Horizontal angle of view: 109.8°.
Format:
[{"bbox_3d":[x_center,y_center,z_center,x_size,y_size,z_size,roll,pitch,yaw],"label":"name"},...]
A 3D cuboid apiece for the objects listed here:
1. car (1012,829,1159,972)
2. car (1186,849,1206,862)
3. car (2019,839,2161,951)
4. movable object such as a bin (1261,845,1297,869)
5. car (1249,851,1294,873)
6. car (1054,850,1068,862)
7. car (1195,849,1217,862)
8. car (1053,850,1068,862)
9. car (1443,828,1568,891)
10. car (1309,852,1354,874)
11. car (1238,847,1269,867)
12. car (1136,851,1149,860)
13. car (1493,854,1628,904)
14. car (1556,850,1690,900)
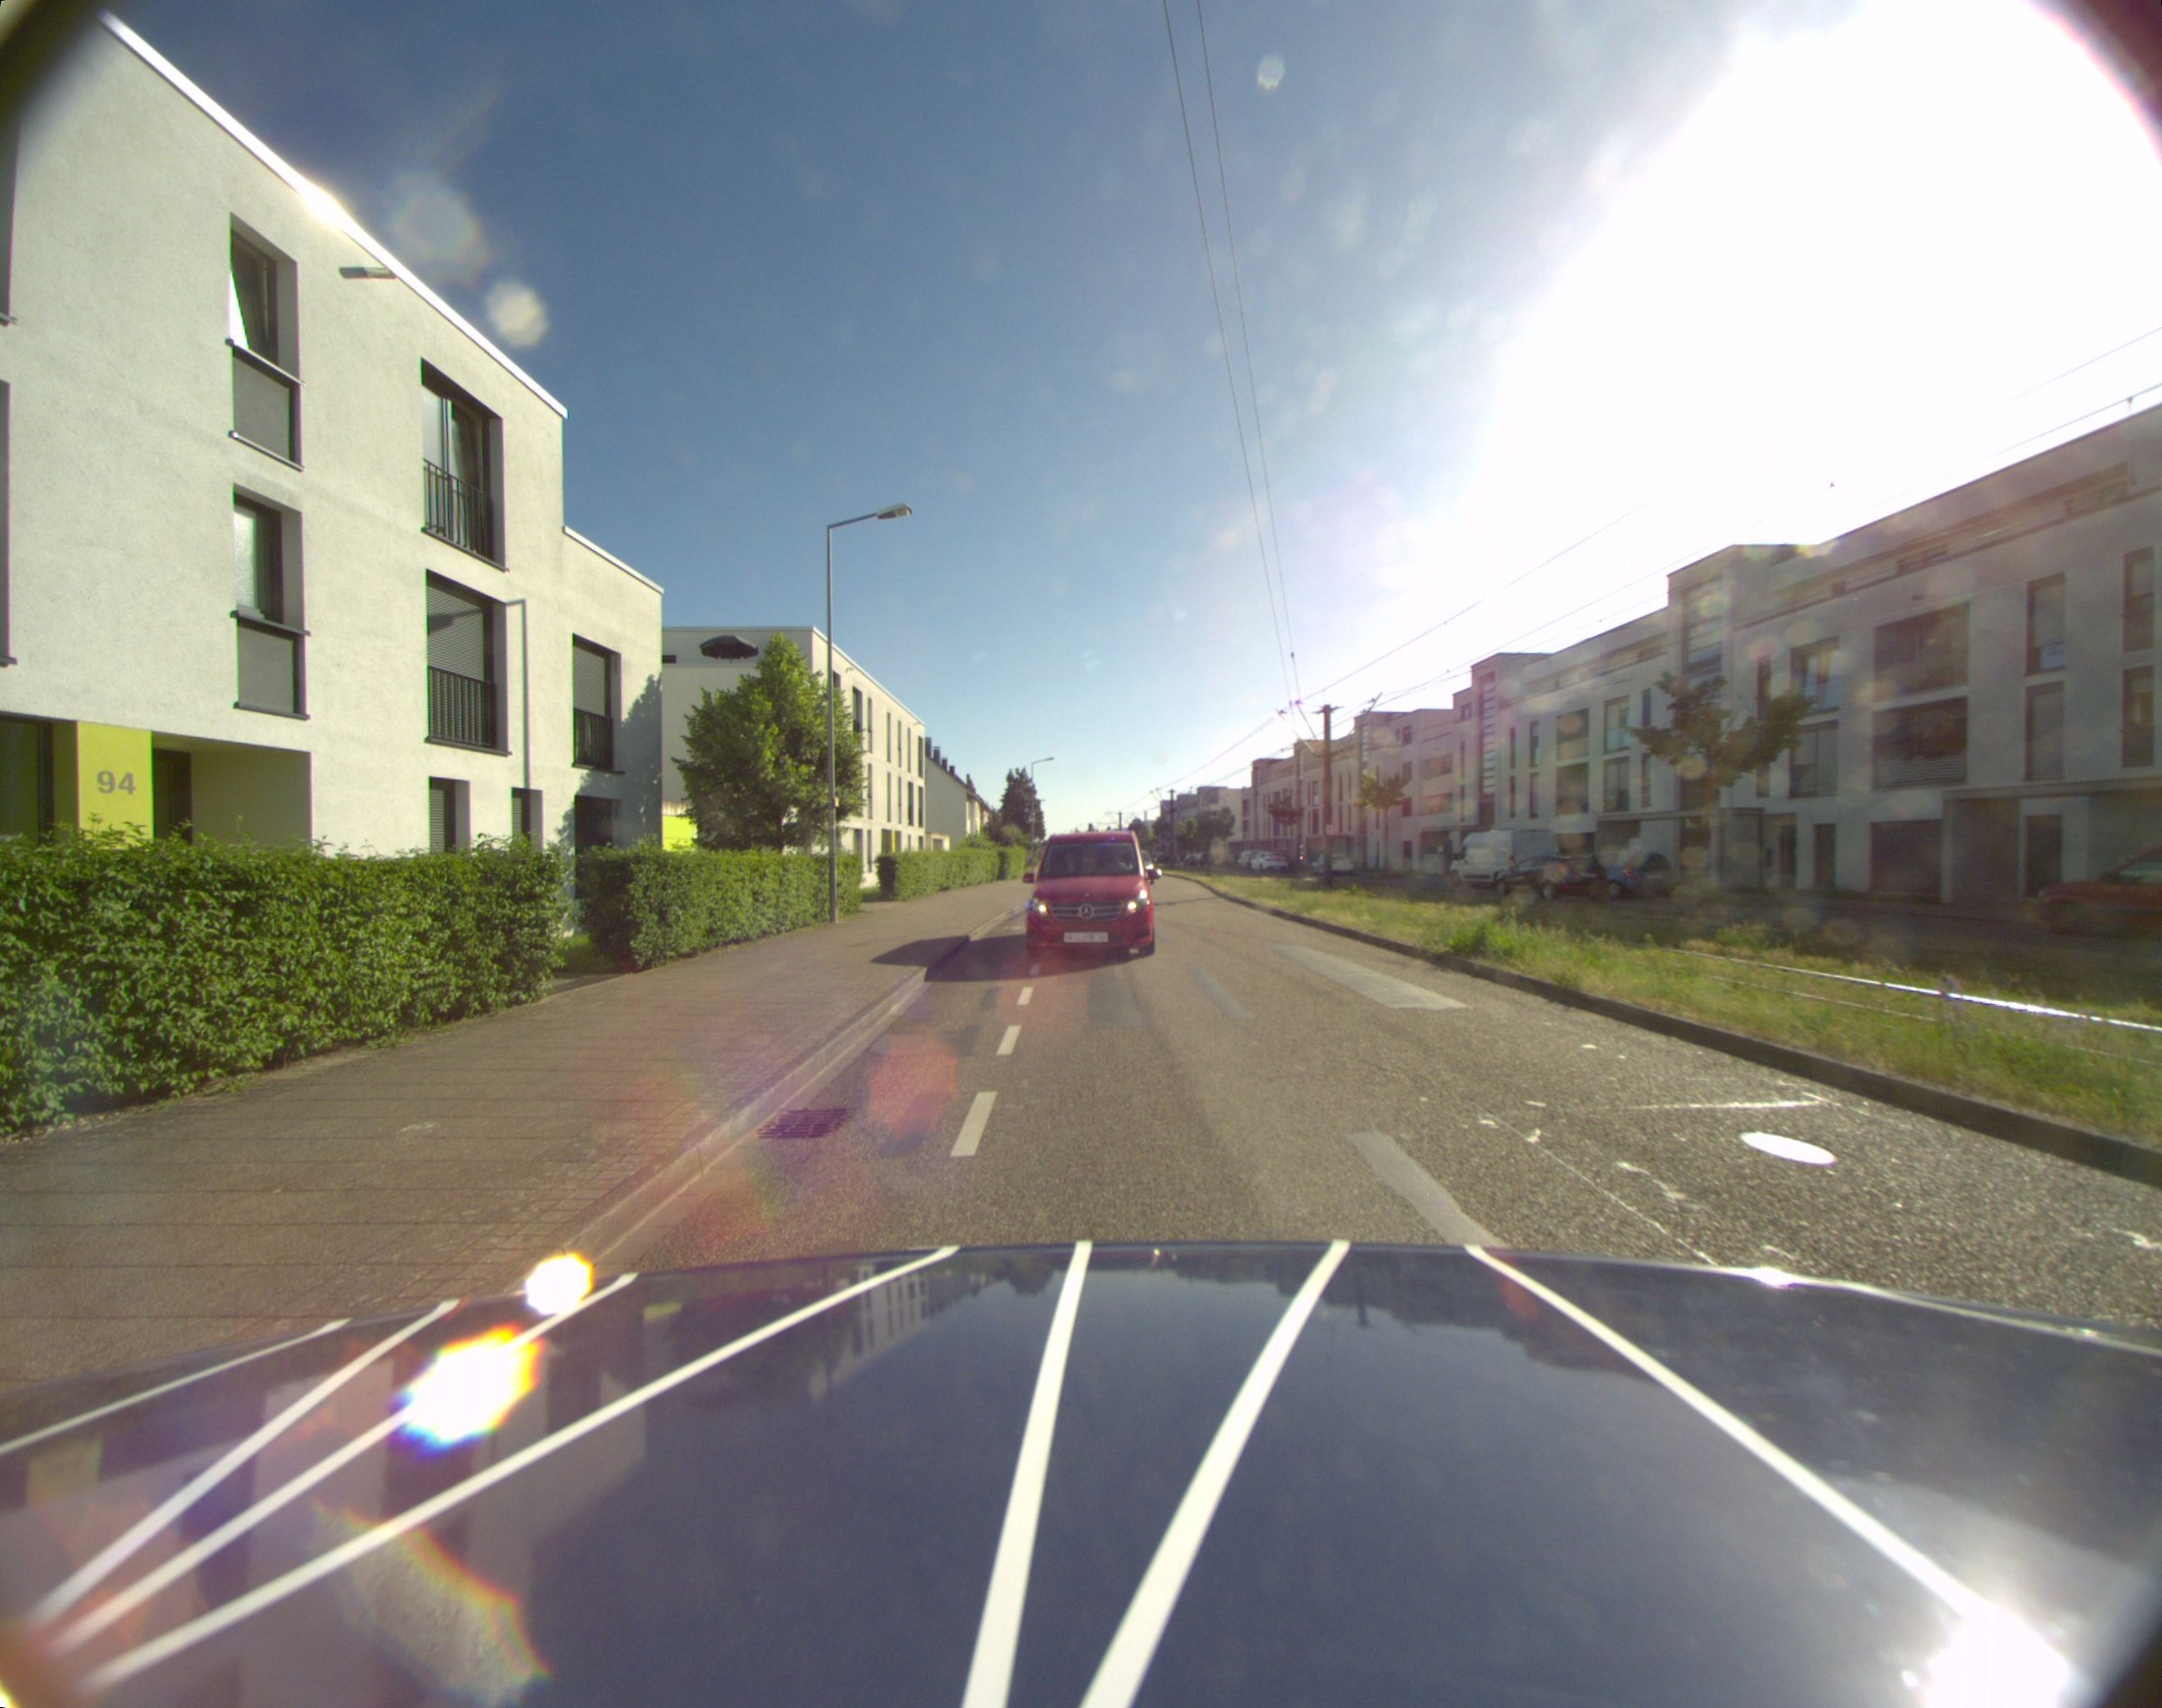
[{"bbox_3d":[0.125,0.647,13.232,1.979,1.922,5.205,-2,0,1],"label":"car"},{"bbox_3d":[14.998,0.172,99.097,1.766,1.590,4.155,-2,0,-4],"label":"car"},{"bbox_3d":[18.551,0.661,12.357,1.885,1.785,3.837,-2,0,1],"label":"car"},{"bbox_3d":[17.000,0.231,65.362,1.766,1.926,4.155,-2,0,-4],"label":"movable object such as a bin"},{"bbox_3d":[14.318,0.568,57.384,1.999,1.586,4.645,2,0,-2],"label":"car"},{"bbox_3d":[-2.703,0.282,102.534,1.700,1.604,4.013,2,0,0],"label":"car"},{"bbox_3d":[15.388,0.172,93.463,1.766,1.590,4.155,-2,0,-4],"label":"car"},{"bbox_3d":[-2.622,0.242,97.912,1.700,1.466,4.013,2,0,0],"label":"car"},{"bbox_3d":[18.166,0.222,32.916,2.146,2.430,5.588,-2,0,-1],"label":"car"},{"bbox_3d":[17.559,0.620,53.439,1.521,1.424,4.155,-2,0,-4],"label":"car"},{"bbox_3d":[16.698,0.272,73.775,1.766,1.859,4.155,-2,0,-4],"label":"car"},{"bbox_3d":[11.174,0.347,138.930,1.766,1.590,4.155,-2,0,-4],"label":"car"},{"bbox_3d":[15.045,0.736,24.115,1.792,1.410,4.000,1,0,1],"label":"car"},{"bbox_3d":[18.345,0.651,25.942,1.829,1.528,3.842,-2,0,0],"label":"car"}]
